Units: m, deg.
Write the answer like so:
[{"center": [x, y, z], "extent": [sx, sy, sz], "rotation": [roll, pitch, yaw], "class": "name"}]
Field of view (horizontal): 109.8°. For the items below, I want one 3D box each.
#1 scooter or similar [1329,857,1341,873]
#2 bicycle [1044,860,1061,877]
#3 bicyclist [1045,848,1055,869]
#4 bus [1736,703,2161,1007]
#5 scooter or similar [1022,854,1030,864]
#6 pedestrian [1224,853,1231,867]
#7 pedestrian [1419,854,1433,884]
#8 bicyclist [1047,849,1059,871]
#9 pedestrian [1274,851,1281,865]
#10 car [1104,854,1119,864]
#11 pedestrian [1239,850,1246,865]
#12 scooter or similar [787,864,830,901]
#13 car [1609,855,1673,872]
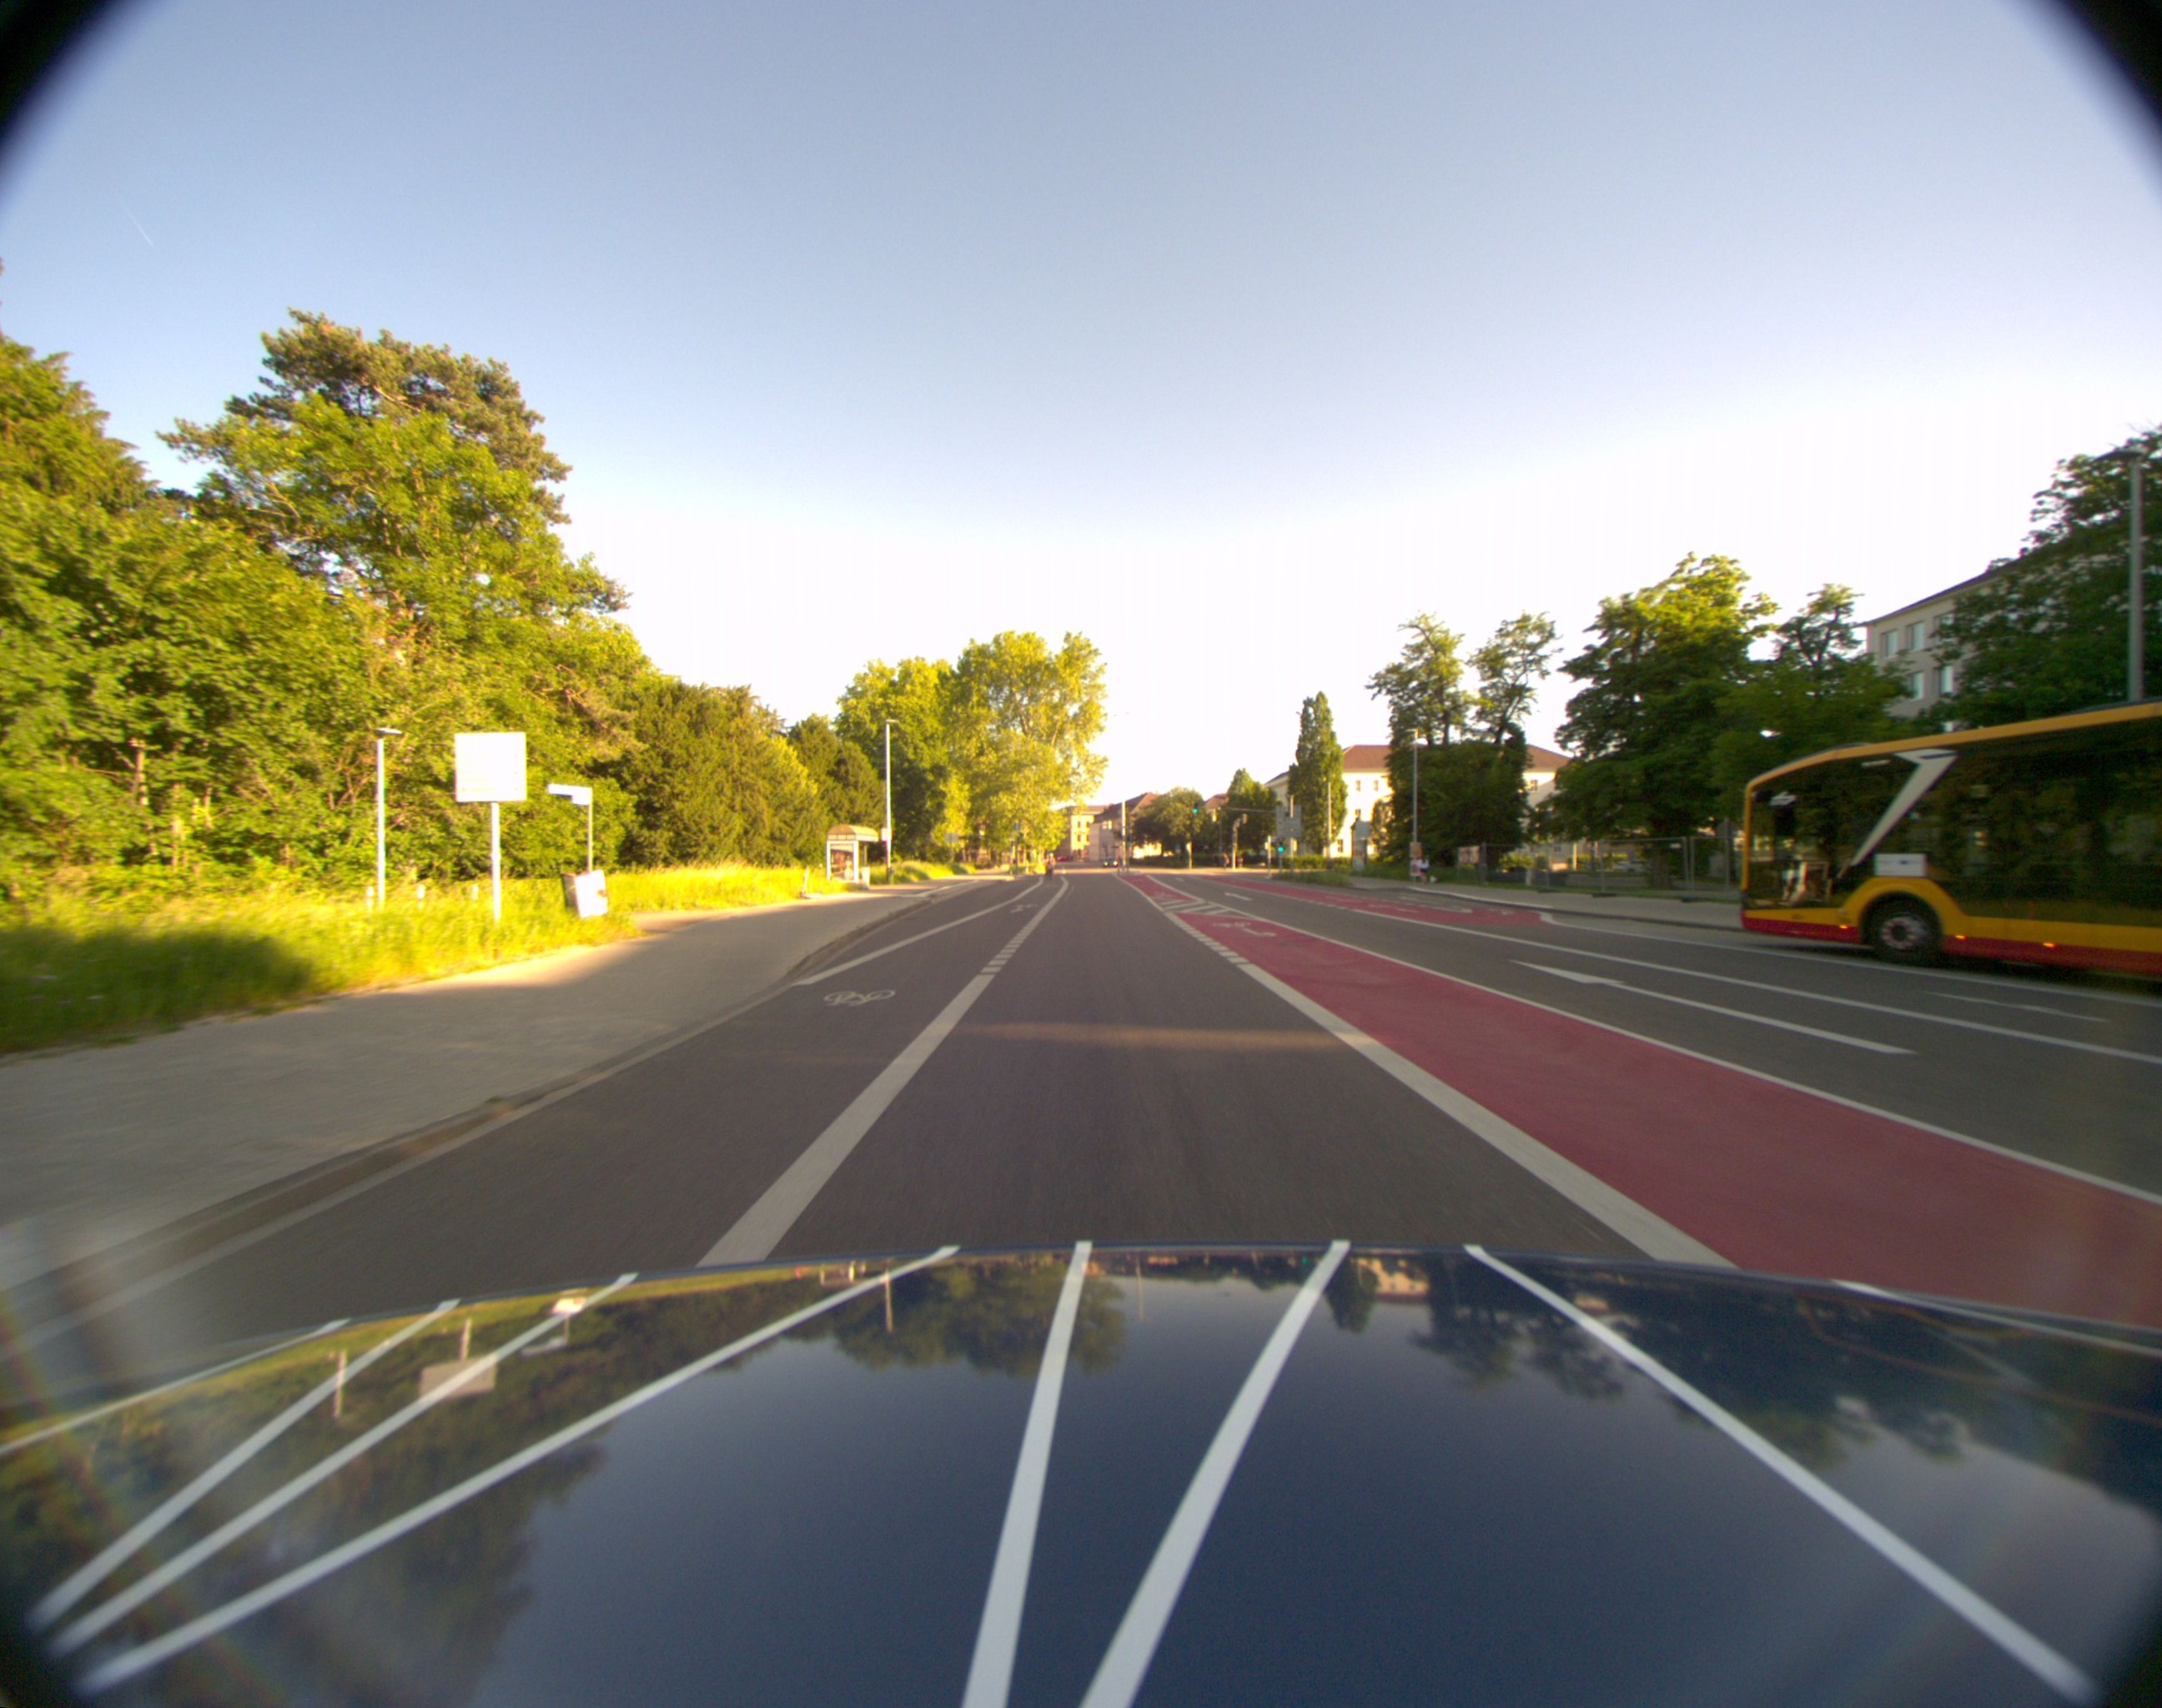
[{"center": [20.253, 0.879, 60.558], "extent": [0.693, 1.286, 1.499], "rotation": [0, 1, 29], "class": "scooter or similar"}, {"center": [-1.873, 0.992, 50.898], "extent": [0.694, 1.089, 2.138], "rotation": [0, 0, 10], "class": "bicycle"}, {"center": [-2.300, 0.320, 55.969], "extent": [0.695, 1.493, 0.892], "rotation": [0, 1, -4], "class": "bicyclist"}, {"center": [12.715, 0.008, 8.813], "extent": [2.847, 3.178, 8.599], "rotation": [0, 0, 1], "class": "bus"}, {"center": [-7.303, 0.675, 100.893], "extent": [0.794, 1.248, 1.836], "rotation": [4, 0, -1], "class": "scooter or similar"}, {"center": [17.477, 0.751, 90.656], "extent": [0.691, 1.672, 0.681], "rotation": [0, 1, 8], "class": "pedestrian"}, {"center": [18.197, 0.789, 40.120], "extent": [0.452, 1.525, 0.571], "rotation": [0, 1, -5], "class": "pedestrian"}, {"center": [-1.877, 0.387, 50.876], "extent": [0.694, 1.482, 0.801], "rotation": [0, 1, 10], "class": "bicyclist"}, {"center": [24.861, 0.482, 96.166], "extent": [0.691, 1.805, 0.681], "rotation": [0, 1, 8], "class": "pedestrian"}, {"center": [4.012, 0.659, 101.865], "extent": [1.722, 1.409, 4.526], "rotation": [0, 0, -2], "class": "car"}, {"center": [19.211, 0.446, 90.474], "extent": [0.744, 1.805, 0.727], "rotation": [0, 1, 8], "class": "pedestrian"}, {"center": [-9.508, 0.961, 26.550], "extent": [0.722, 1.240, 1.330], "rotation": [0, 0, 22], "class": "scooter or similar"}, {"center": [51.385, 0.875, 69.817], "extent": [4.253, 1.530, 2.070], "rotation": [0, 0, 7], "class": "car"}]
